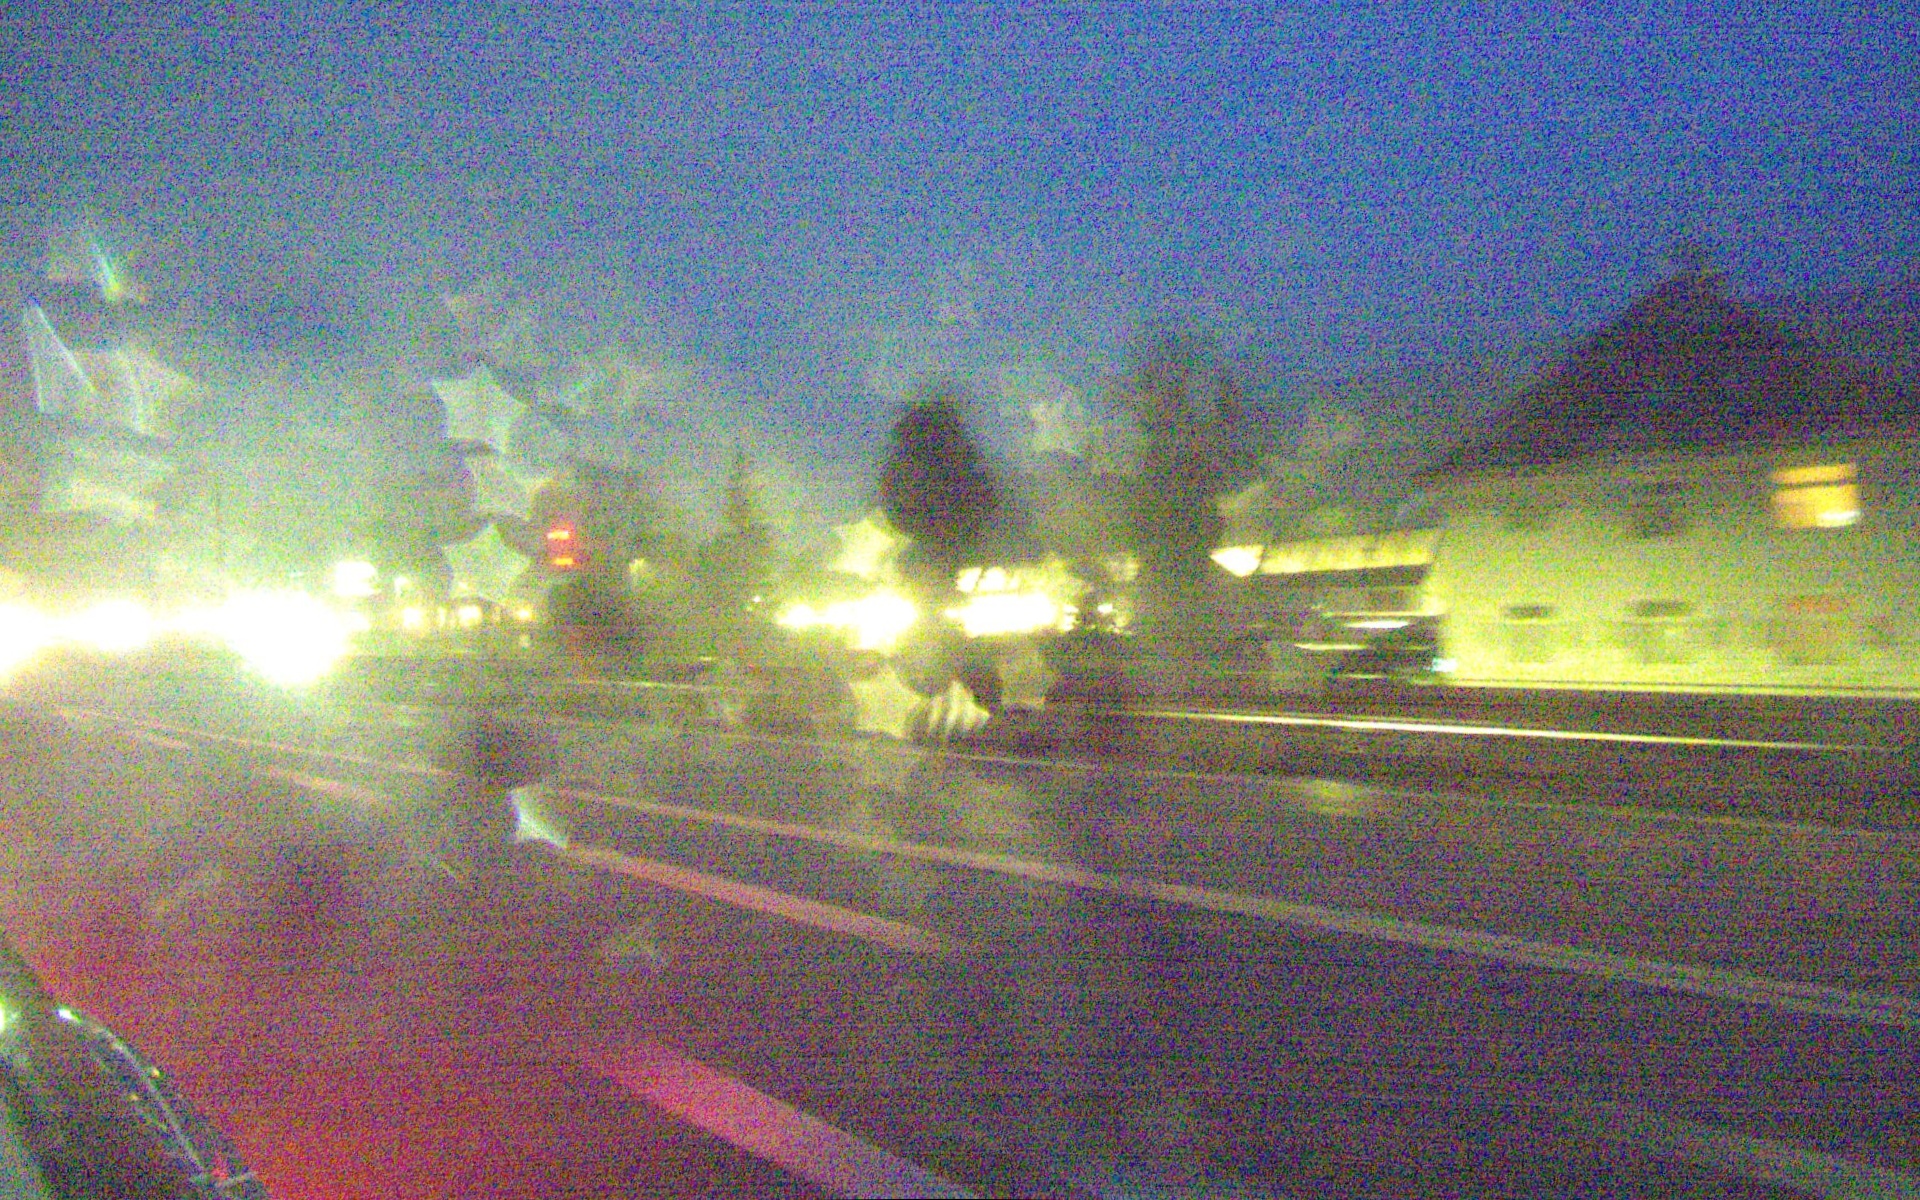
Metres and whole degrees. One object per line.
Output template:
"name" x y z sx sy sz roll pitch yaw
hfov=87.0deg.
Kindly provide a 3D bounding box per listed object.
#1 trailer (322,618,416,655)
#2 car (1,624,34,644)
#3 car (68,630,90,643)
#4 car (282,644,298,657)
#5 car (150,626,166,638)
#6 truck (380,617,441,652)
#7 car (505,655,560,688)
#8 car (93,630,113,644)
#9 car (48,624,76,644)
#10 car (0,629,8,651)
"trailer" -84.370 5.138 144.827 3.326 4.832 11.434 -1 0 31
"car" -80.288 2.867 86.235 1.969 1.625 4.617 0 -1 -42
"car" -106.268 4.377 122.083 1.775 1.531 4.544 0 -1 -38
"car" -98.368 7.398 148.565 1.783 1.688 4.305 -1 0 -32
"car" -139.408 5.608 175.922 1.764 1.635 4.390 0 4 -32
"truck" -81.311 5.080 149.832 3.326 4.832 7.242 -1 0 31
"car" -29.604 4.882 70.001 3.998 2.029 1.973 -1 0 41
"car" -115.013 4.948 135.898 1.665 1.693 3.476 0 -1 -34
"car" -97.267 3.680 109.670 1.968 2.090 4.008 -1 0 -38
"car" -90.922 3.752 95.032 1.969 2.029 4.007 -1 0 -40
